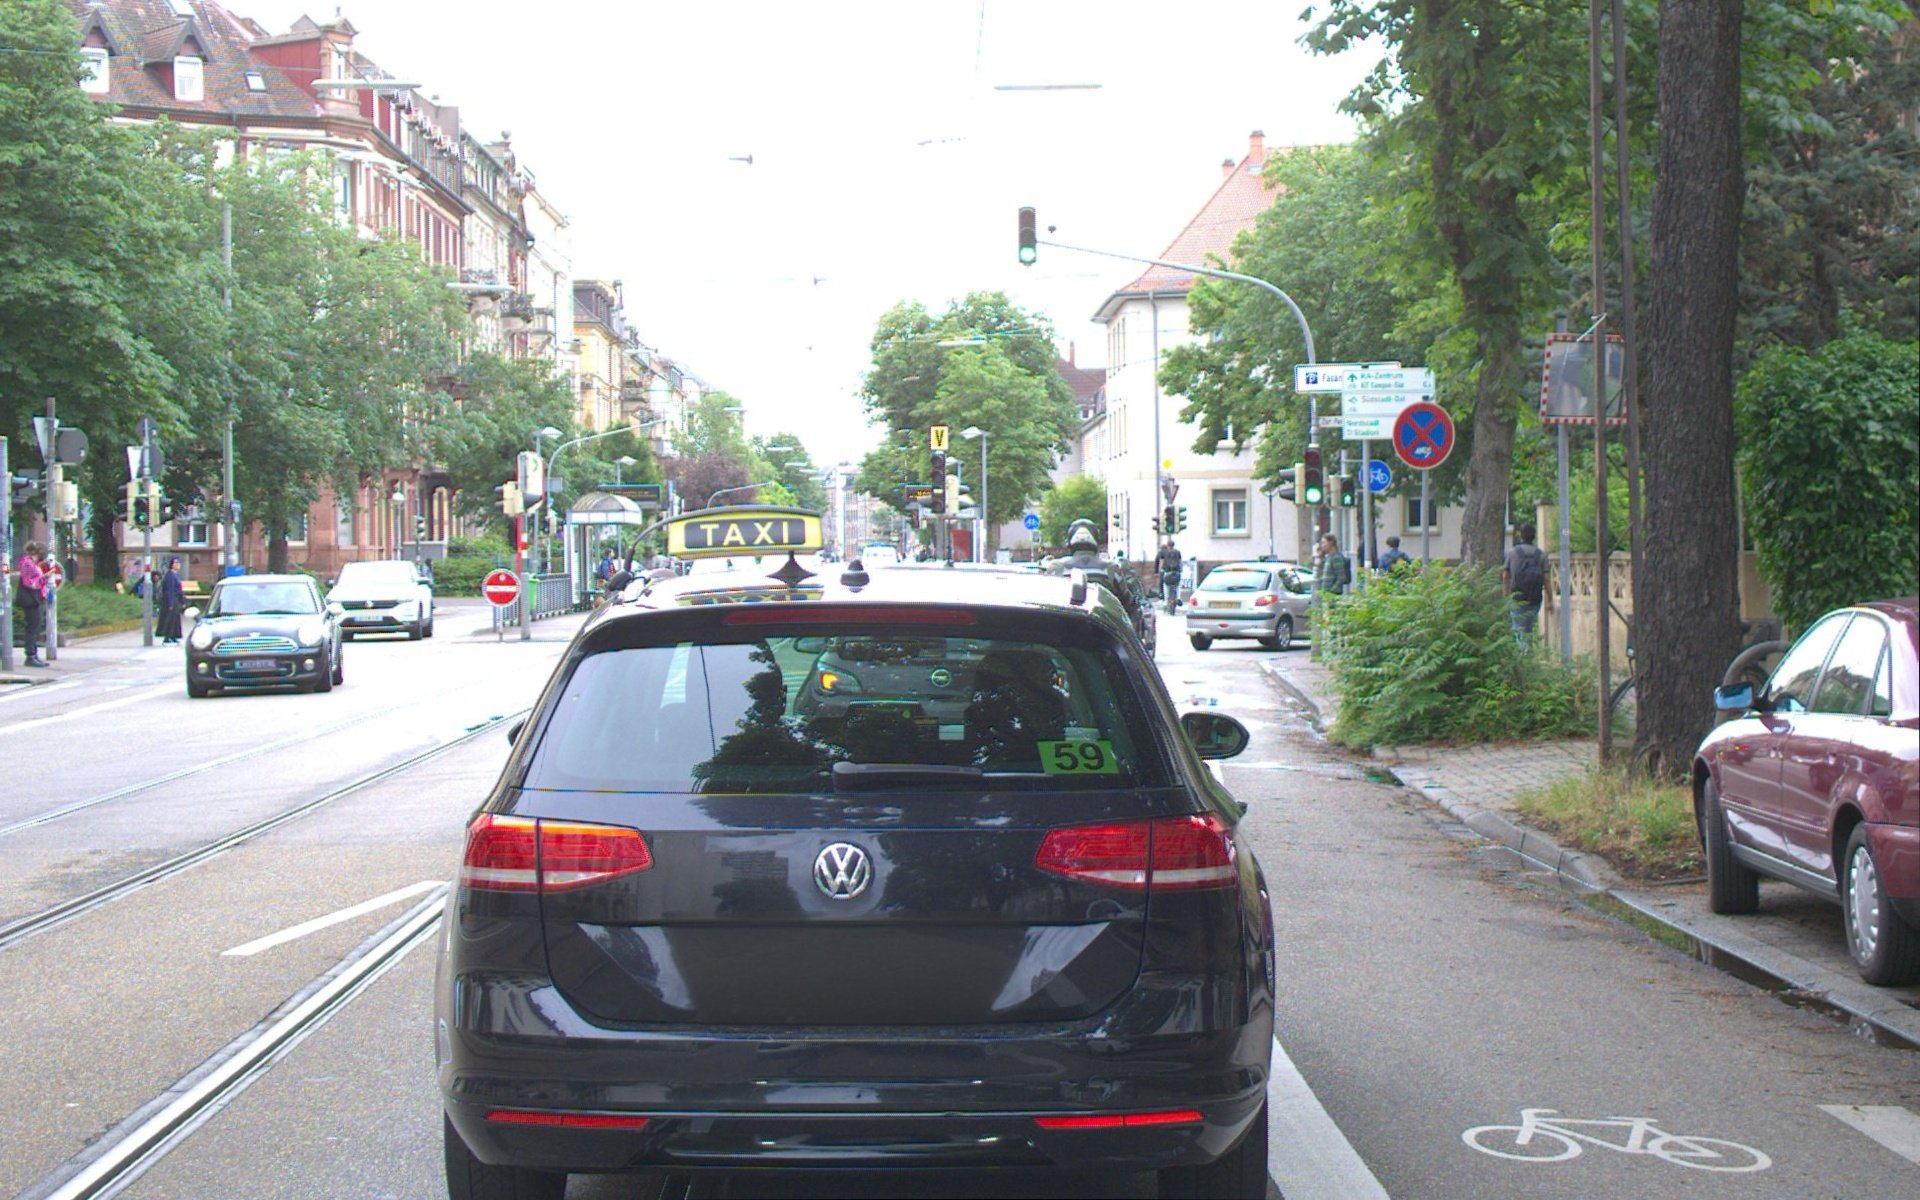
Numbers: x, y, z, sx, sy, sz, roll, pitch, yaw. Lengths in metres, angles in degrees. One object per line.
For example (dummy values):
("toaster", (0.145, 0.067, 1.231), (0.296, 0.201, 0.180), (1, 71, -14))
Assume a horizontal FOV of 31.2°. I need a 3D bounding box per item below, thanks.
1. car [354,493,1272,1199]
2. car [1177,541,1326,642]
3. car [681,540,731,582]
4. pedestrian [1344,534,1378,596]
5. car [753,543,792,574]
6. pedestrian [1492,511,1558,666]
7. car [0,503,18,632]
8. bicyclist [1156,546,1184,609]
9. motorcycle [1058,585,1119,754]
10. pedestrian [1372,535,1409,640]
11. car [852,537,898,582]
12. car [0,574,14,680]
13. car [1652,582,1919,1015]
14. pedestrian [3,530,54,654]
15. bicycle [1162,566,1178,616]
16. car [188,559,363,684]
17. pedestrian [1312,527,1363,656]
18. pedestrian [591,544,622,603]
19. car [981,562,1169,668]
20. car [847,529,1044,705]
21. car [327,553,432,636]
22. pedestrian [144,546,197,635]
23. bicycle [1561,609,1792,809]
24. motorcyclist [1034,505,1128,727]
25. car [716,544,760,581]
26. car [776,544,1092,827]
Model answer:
("car", (-0.306, 0.546, 8.489), (1.723, 1.541, 4.000), (0, 1, -1))
("car", (4.856, -0.137, 56.813), (1.994, 1.572, 3.998), (1, 0, 11))
("car", (-9.958, -1.541, 134.990), (1.721, 1.617, 3.864), (-1, 1, -1))
("pedestrian", (10.052, -0.888, 86.252), (0.608, 1.548, 0.583), (0, 1, -40))
("car", (-9.097, -2.017, 166.857), (1.721, 1.460, 3.864), (-1, 1, -1))
("pedestrian", (6.674, -0.143, 40.616), (0.632, 1.808, 0.726), (0, 1, -3))
("car", (-20.188, -0.618, 65.299), (2.180, 2.409, 5.377), (-1, 1, -43))
("bicyclist", (5.216, -0.564, 85.281), (0.651, 1.563, 0.695), (0, 1, 6))
("motorcycle", (0.995, 0.514, 26.531), (0.446, 1.231, 1.907), (0, 1, 2))
("pedestrian", (7.632, -0.227, 60.954), (0.514, 1.824, 0.417), (-3, 1, 16))
("car", (-3.910, -1.857, 158.821), (2.033, 2.007, 4.000), (1, 0, -1))
("car", (-13.089, 0.336, 42.797), (1.648, 1.357, 4.130), (2, 1, -3))
("car", (4.026, 0.662, 13.662), (1.602, 1.394, 4.227), (-2, 1, -1))
("pedestrian", (-13.901, -0.128, 51.306), (0.623, 1.836, 0.610), (0, 1, -3))
("bicycle", (5.209, -0.238, 85.275), (0.297, 1.219, 1.430), (0, 1, 6))
("car", (-8.263, 0.230, 41.733), (1.608, 1.417, 3.487), (-1, 1, -4))
("pedestrian", (5.446, -0.125, 49.625), (0.585, 1.824, 0.604), (-3, 1, 0))
("pedestrian", (-9.065, -0.683, 88.192), (0.714, 1.515, 0.590), (0, 1, 1))
("car", (1.663, 0.183, 48.397), (1.893, 1.403, 3.998), (0, 1, 13))
("car", (-0.155, 0.119, 32.260), (1.723, 1.541, 4.000), (0, 1, -1))
("car", (-11.024, -0.124, 65.472), (1.698, 1.491, 3.931), (-1, 1, -6))
("pedestrian", (-14.797, -0.183, 64.415), (0.836, 1.657, 0.591), (0, 1, -28))
("bicycle", (4.475, 0.662, 21.394), (0.433, 1.194, 1.899), (0, 0, 45))
("motorcyclist", (0.936, 0.117, 26.548), (0.703, 1.686, 0.804), (0, 1, 3))
("car", (-9.650, -1.640, 149.726), (1.721, 1.617, 3.864), (0, 1, -1))
("car", (-0.169, 0.442, 20.871), (1.723, 1.541, 4.000), (0, 1, -1))
